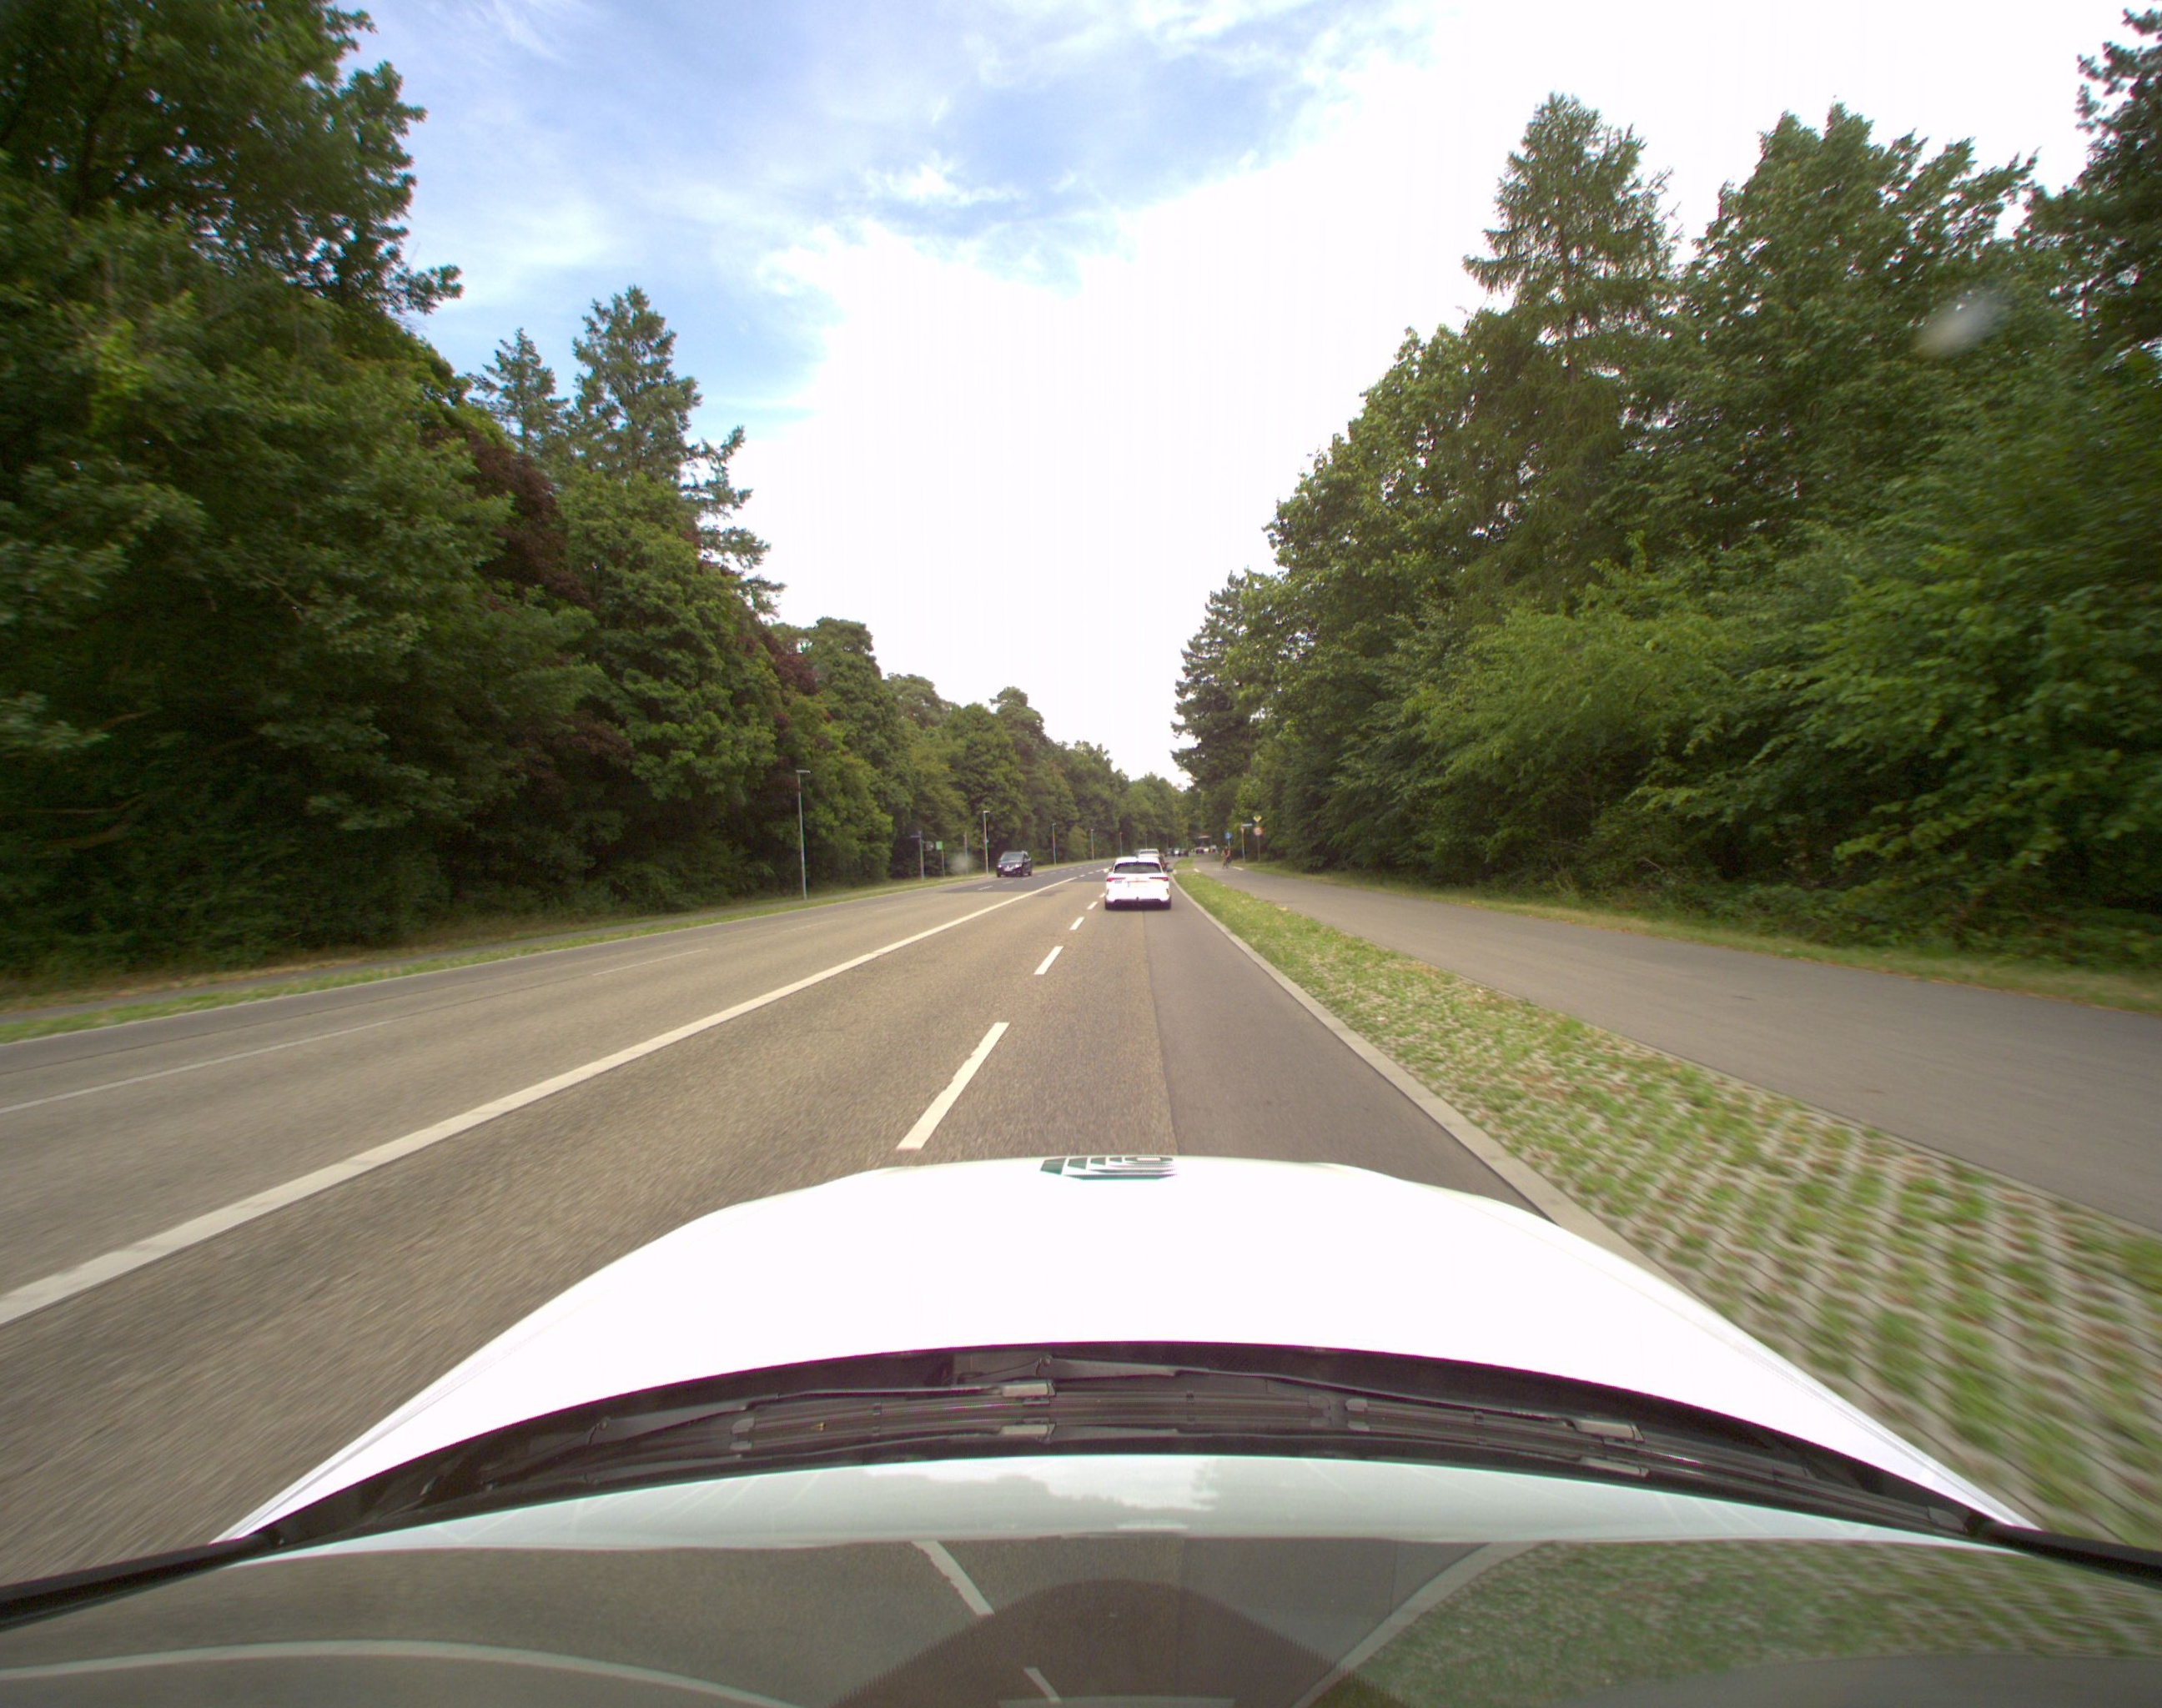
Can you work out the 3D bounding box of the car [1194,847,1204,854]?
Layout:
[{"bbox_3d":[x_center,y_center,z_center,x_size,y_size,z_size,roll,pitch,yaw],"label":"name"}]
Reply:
[{"bbox_3d":[29.556,-0.875,203.515,1.979,1.783,4.014,0,-1,13],"label":"car"}]

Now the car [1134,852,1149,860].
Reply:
[{"bbox_3d":[10.782,0.372,144.742,1.981,1.435,4.734,-1,-1,10],"label":"car"}]

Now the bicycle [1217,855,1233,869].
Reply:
[{"bbox_3d":[10.617,0.575,59.865,0.703,0.994,2.192,-2,0,21],"label":"bicycle"}]

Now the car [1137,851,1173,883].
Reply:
[{"bbox_3d":[3.578,0.603,38.864,1.627,1.420,4.007,0,-1,6],"label":"car"}]

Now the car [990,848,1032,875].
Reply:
[{"bbox_3d":[-4.681,0.515,55.112,1.984,1.791,4.754,0,-1,5],"label":"car"}]

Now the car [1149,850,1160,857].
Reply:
[{"bbox_3d":[17.369,-0.119,191.902,1.980,1.617,4.679,0,-1,12],"label":"car"}]

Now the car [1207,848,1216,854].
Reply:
[{"bbox_3d":[37.462,-0.832,233.112,1.978,1.706,4.017,-2,0,16],"label":"car"}]

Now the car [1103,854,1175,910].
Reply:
[{"bbox_3d":[1.612,0.729,23.132,1.828,1.410,4.494,-1,0,3],"label":"car"}]

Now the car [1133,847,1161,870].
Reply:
[{"bbox_3d":[4.860,0.351,60.293,1.985,1.607,4.004,0,-1,4],"label":"car"}]

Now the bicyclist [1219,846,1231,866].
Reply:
[{"bbox_3d":[10.599,0.154,59.858,0.703,1.470,0.905,-2,0,17],"label":"bicyclist"}]

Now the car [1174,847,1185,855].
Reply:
[{"bbox_3d":[21.896,-0.618,181.209,1.979,1.783,4.015,0,-1,14],"label":"car"}]

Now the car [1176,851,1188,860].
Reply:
[{"bbox_3d":[19.435,0.298,156.632,1.980,1.783,4.013,0,-1,12],"label":"car"}]

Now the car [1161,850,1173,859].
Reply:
[{"bbox_3d":[17.323,0.083,163.670,1.980,1.783,4.012,0,-1,11],"label":"car"}]

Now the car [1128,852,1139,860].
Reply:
[{"bbox_3d":[10.615,0.397,163.757,1.913,1.655,4.478,-1,-1,7],"label":"car"}]

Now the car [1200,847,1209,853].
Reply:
[{"bbox_3d":[37.472,-1.317,247.273,1.873,1.816,4.019,0,-1,18],"label":"car"}]
